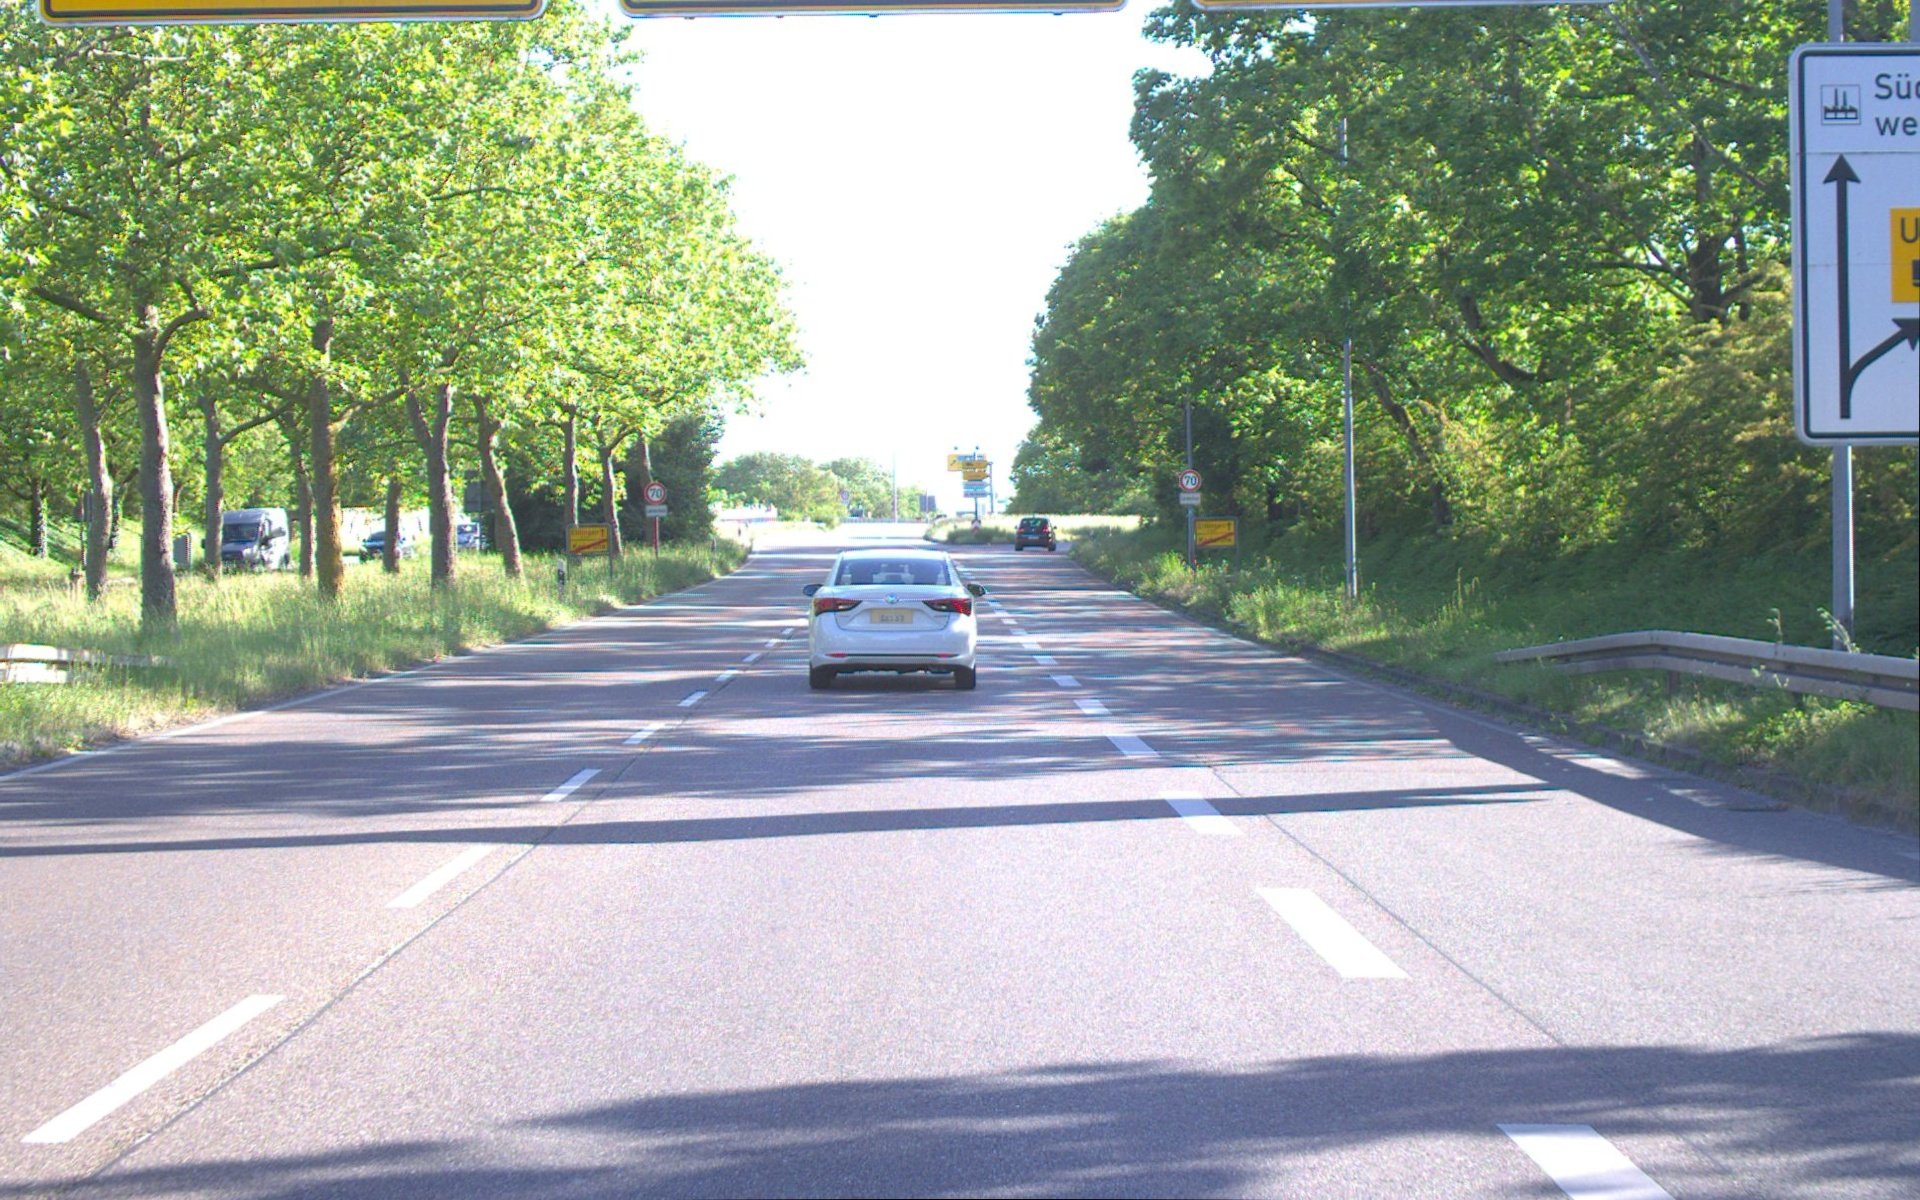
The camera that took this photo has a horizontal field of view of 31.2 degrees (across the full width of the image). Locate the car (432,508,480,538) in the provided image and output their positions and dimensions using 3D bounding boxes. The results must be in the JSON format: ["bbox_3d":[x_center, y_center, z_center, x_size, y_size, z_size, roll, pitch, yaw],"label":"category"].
[{"bbox_3d":[-25.453,-3.899,173.722,1.767,1.459,4.366,-1,1,0],"label":"car"}]

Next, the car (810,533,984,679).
[{"bbox_3d":[-0.669,0.015,37.544,1.767,1.459,4.366,-1,1,-1],"label":"car"}]

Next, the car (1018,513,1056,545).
[{"bbox_3d":[3.642,-3.390,164.119,1.767,1.459,4.366,-1,1,1],"label":"car"}]

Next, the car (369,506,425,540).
[{"bbox_3d":[-24.838,-3.389,151.864,1.767,1.459,4.366,-1,1,0],"label":"car"}]

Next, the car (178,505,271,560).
[{"bbox_3d":[-26.316,-2.426,123.241,2.134,1.895,5.742,-1,1,0],"label":"car"}]
